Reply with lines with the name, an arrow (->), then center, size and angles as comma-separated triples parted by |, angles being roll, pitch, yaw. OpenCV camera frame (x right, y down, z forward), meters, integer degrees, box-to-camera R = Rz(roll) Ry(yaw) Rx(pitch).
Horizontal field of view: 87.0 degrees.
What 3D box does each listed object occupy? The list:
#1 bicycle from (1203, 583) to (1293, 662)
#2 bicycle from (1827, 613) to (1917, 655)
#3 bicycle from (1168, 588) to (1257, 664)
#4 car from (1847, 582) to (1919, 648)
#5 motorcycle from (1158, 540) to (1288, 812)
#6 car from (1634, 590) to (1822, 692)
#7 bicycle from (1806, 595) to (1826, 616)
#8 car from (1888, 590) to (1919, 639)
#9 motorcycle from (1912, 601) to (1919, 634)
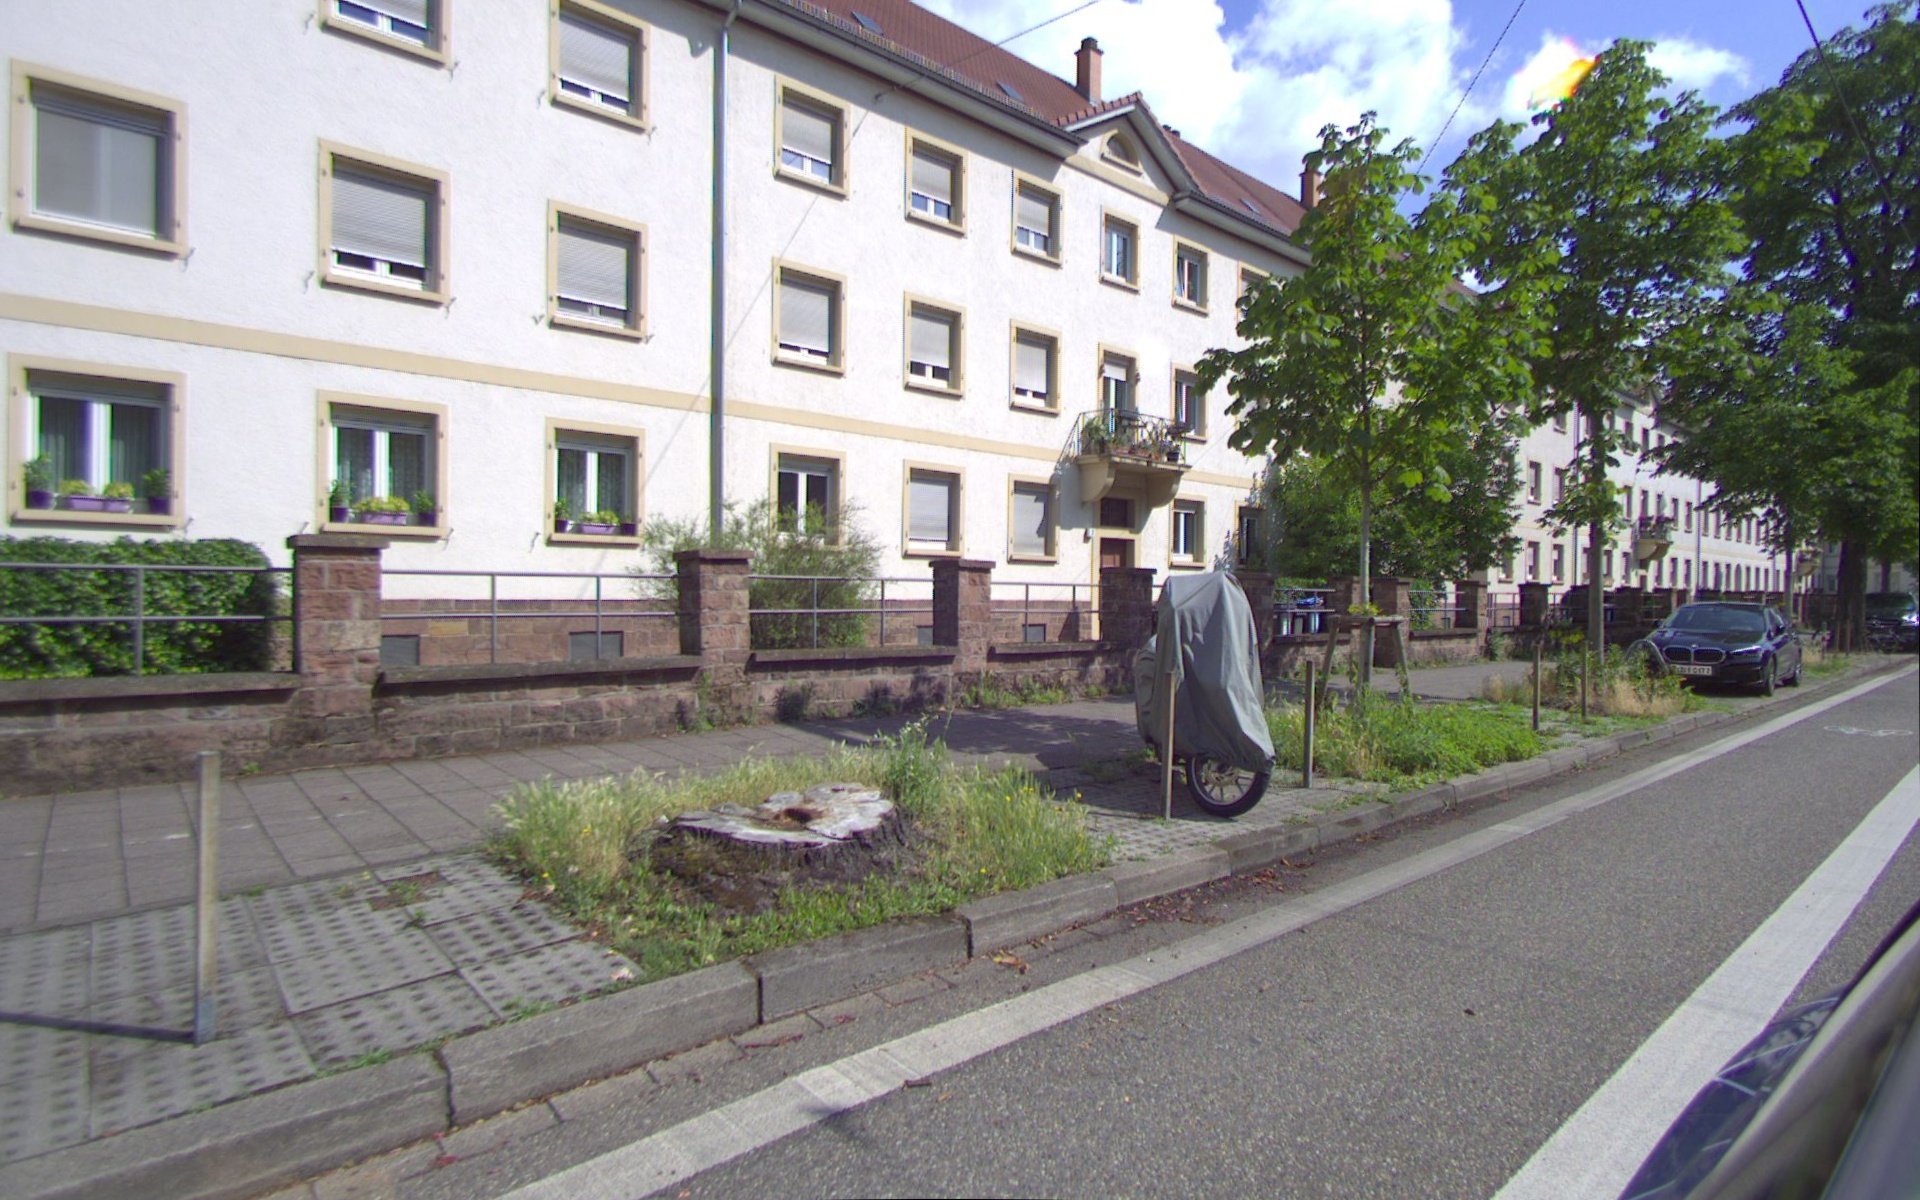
bicycle -> 4.732, 0.340, 16.567 | 1.674, 1.227, 0.600 | 0, 0, -41
bicycle -> 24.109, 0.877, 26.769 | 0.626, 1.020, 1.711 | 0, 1, -40
bicycle -> 4.289, 0.417, 17.122 | 1.674, 1.227, 0.600 | 0, 0, -41
car -> 27.688, 0.418, 29.780 | 4.651, 1.805, 1.830 | 0, 1, -42
motorcycle -> 1.804, 0.434, 7.243 | 0.667, 1.617, 2.381 | 0, 1, 9
car -> 12.967, 0.620, 16.995 | 4.124, 1.498, 1.708 | -1, -1, -42
bicycle -> 47.984, 0.311, 56.737 | 1.769, 1.149, 0.626 | 0, 0, -41
car -> 34.918, 0.494, 36.400 | 4.558, 1.674, 1.865 | 0, 1, -42
motorcycle -> 39.855, 0.731, 40.900 | 0.735, 1.354, 2.008 | 0, 0, -44
